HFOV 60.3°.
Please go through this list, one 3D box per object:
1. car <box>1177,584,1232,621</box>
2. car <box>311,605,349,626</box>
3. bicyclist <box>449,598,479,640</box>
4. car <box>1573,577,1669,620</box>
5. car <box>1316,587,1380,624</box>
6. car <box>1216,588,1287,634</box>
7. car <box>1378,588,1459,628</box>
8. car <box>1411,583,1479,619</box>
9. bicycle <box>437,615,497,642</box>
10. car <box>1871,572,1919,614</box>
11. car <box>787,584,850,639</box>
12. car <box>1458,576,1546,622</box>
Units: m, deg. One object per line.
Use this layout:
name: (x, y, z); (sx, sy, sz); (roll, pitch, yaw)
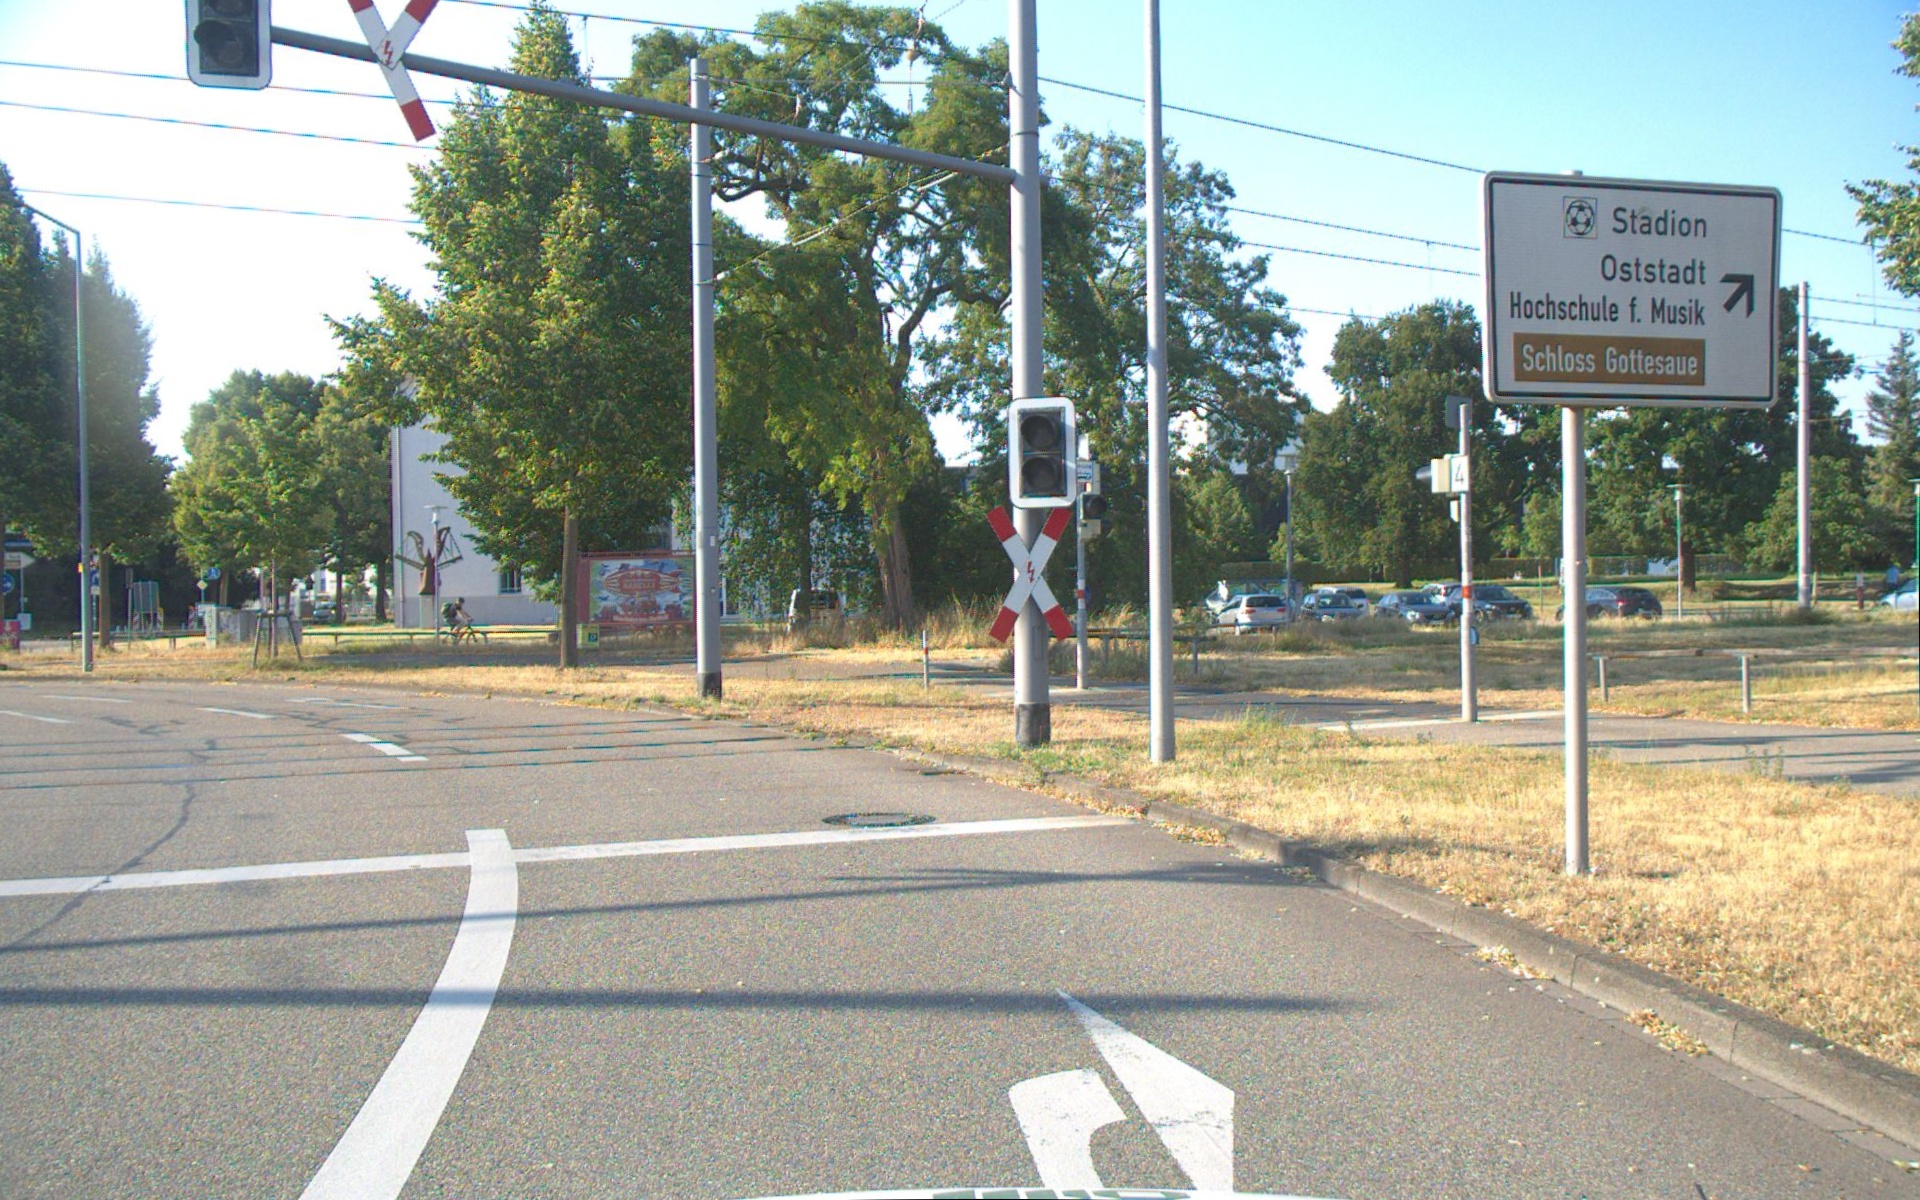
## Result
car: (9.888, 0.089, 67.076); (1.569, 1.426, 3.968); (-1, 0, -1)
car: (-46.944, 1.114, 123.344); (1.551, 1.467, 3.551); (-1, 0, -2)
bicyclist: (-17.340, 0.664, 57.815); (0.890, 1.420, 0.519); (-1, 1, -35)
car: (22.202, -0.053, 55.663); (1.569, 1.333, 3.968); (-1, 0, -1)
car: (15.747, 0.233, 67.230); (1.569, 1.426, 3.968); (-1, 0, -1)
car: (9.666, 0.358, 55.141); (1.569, 1.426, 3.968); (-1, 0, -1)
car: (15.374, 0.259, 55.634); (1.569, 1.242, 3.968); (-1, 0, -1)
car: (20.136, 0.032, 68.805); (1.569, 1.426, 3.968); (-1, 0, -1)
bicycle: (-17.219, 0.992, 57.839); (1.971, 0.839, 0.425); (-2, 1, -36)
car: (33.860, -0.260, 57.620); (1.786, 1.427, 3.995); (-1, 0, -5)
car: (-4.512, 0.364, 53.251); (1.735, 1.646, 3.968); (-1, 0, -1)
car: (18.138, -0.030, 55.545); (1.569, 1.426, 3.968); (-1, 0, -1)
